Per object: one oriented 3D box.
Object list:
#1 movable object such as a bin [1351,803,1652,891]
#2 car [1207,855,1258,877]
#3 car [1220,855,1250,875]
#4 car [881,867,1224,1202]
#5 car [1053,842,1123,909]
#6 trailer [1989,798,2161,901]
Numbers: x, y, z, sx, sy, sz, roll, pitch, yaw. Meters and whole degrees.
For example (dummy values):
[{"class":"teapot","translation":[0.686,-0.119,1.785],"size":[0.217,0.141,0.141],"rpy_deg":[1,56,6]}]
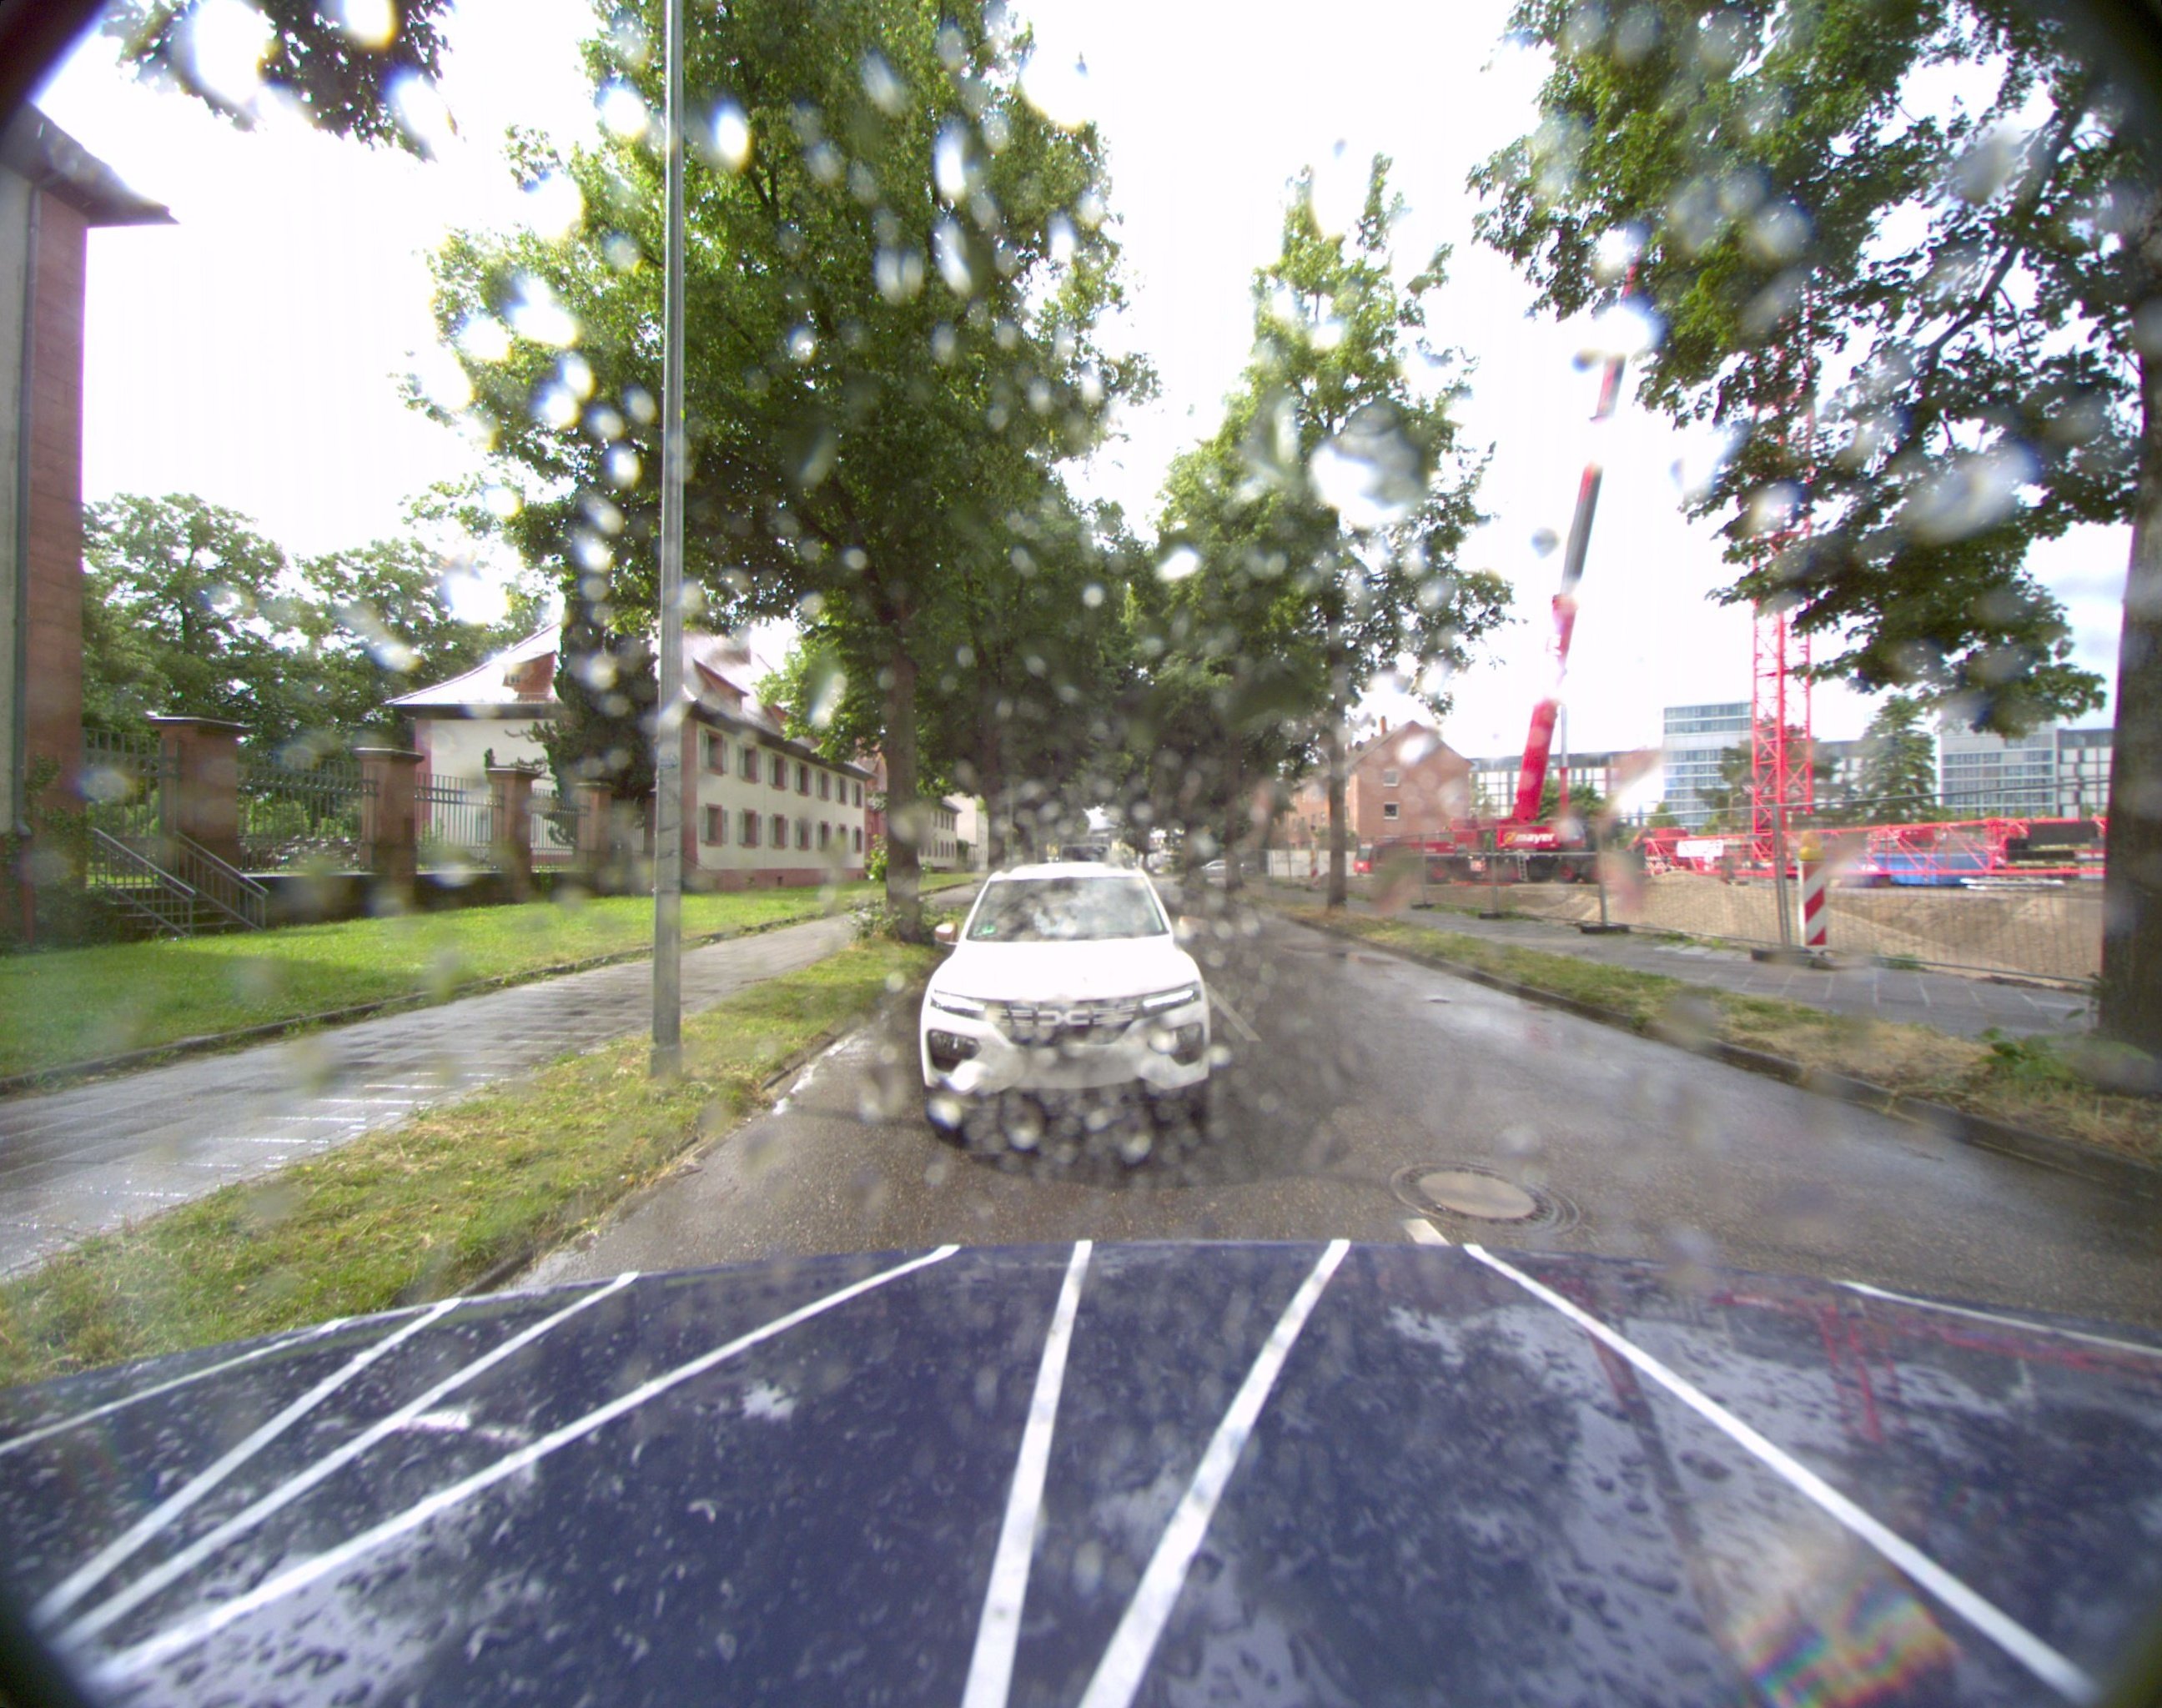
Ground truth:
[{"class":"movable object such as a bin","translation":[24.881,-0.414,45.723],"size":[15.941,4.532,3.102],"rpy_deg":[-2,1,4]},{"class":"car","translation":[11.972,0.961,59.951],"size":[3.865,1.543,1.699],"rpy_deg":[-2,1,14]},{"class":"car","translation":[13.130,0.930,64.948],"size":[1.693,1.521,3.999],"rpy_deg":[-2,1,-1]},{"class":"car","translation":[-0.100,0.904,5.655],"size":[1.608,1.499,4.000],"rpy_deg":[-2,0,1]},{"class":"car","translation":[0.152,0.647,26.434],"size":[2.107,1.990,5.433],"rpy_deg":[-2,1,-1]},{"class":"trailer","translation":[35.720,-0.200,21.462],"size":[2.968,3.214,14.309],"rpy_deg":[-4,0,0]}]
